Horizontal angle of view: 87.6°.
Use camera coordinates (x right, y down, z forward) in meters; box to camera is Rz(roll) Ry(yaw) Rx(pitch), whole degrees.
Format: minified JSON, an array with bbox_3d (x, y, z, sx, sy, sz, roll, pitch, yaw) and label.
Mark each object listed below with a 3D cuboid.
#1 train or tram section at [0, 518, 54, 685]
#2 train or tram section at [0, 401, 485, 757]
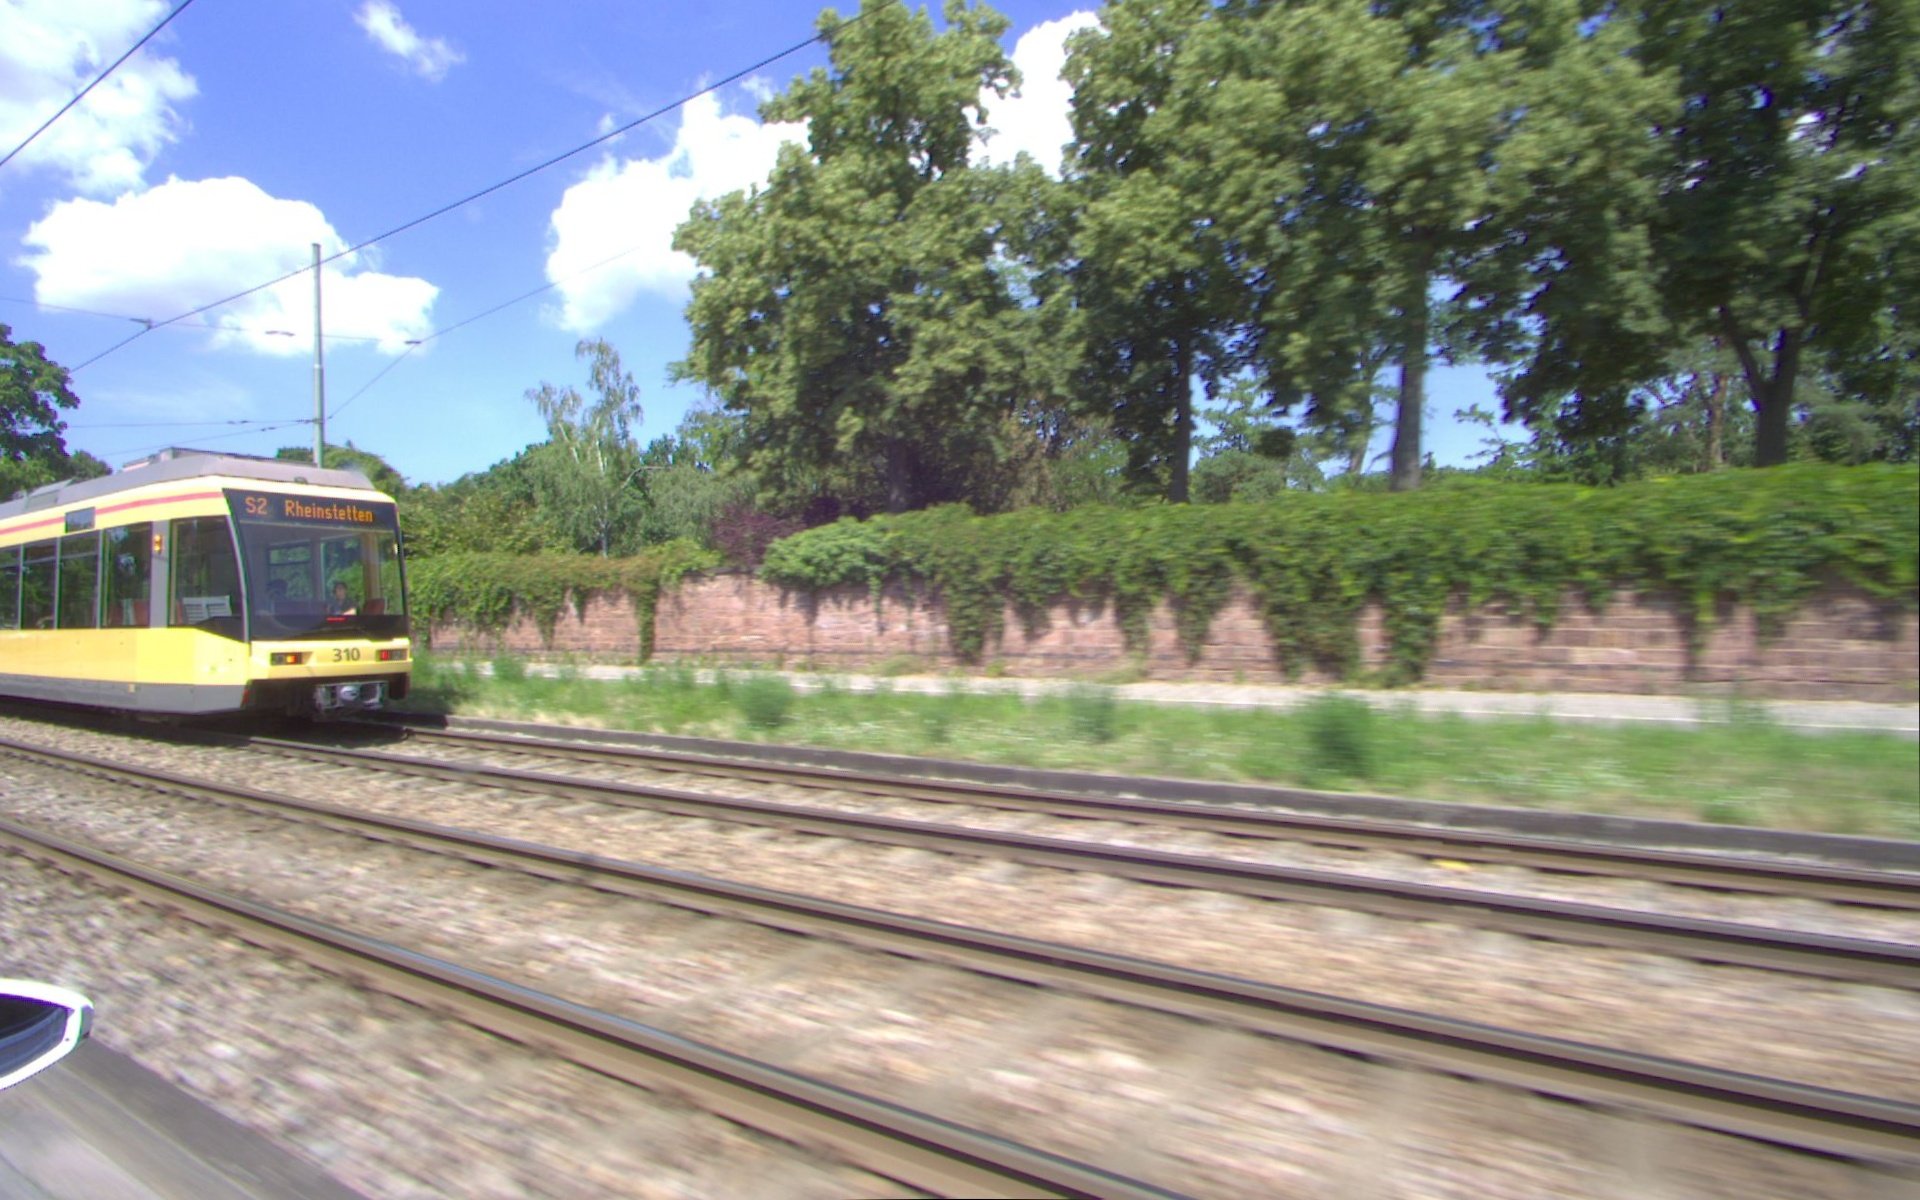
[{"bbox_3d":[-29.982,0.168,27.854,20.014,3.740,2.935,-1,-1,36],"label":"train or tram section"},{"bbox_3d":[-14.414,-0.070,16.894,18.139,3.740,2.936,-1,-1,35],"label":"train or tram section"}]
